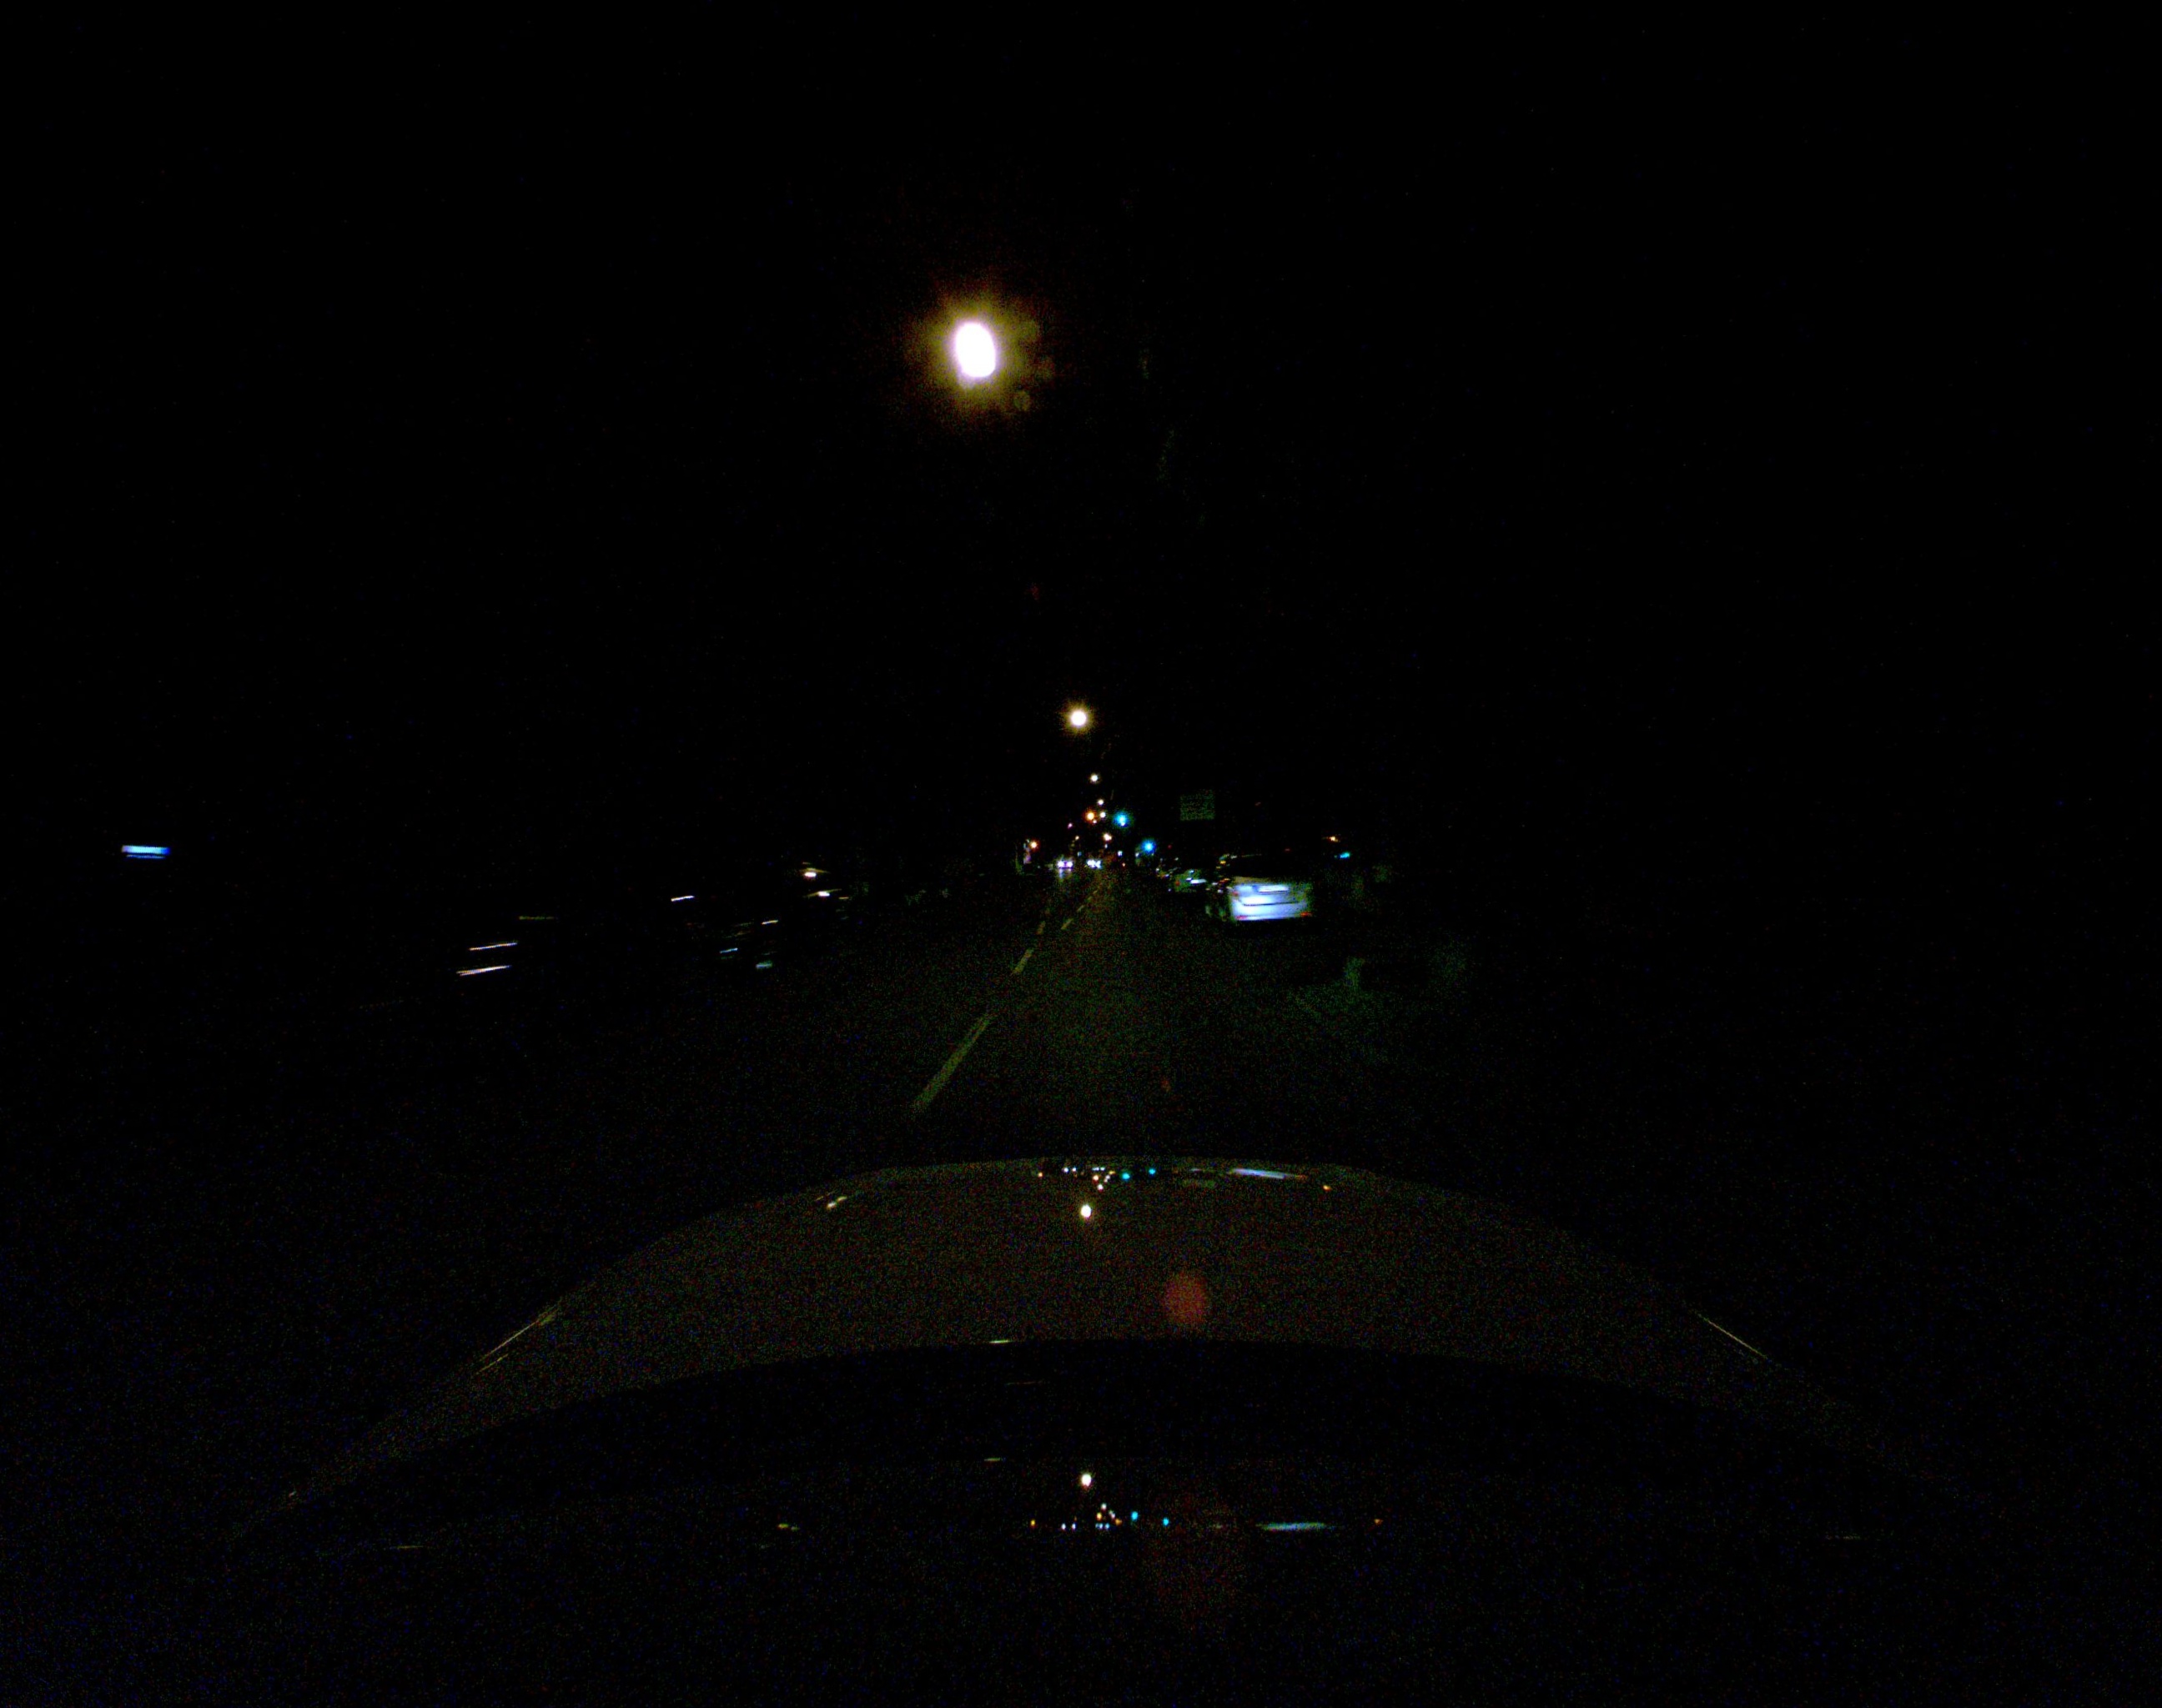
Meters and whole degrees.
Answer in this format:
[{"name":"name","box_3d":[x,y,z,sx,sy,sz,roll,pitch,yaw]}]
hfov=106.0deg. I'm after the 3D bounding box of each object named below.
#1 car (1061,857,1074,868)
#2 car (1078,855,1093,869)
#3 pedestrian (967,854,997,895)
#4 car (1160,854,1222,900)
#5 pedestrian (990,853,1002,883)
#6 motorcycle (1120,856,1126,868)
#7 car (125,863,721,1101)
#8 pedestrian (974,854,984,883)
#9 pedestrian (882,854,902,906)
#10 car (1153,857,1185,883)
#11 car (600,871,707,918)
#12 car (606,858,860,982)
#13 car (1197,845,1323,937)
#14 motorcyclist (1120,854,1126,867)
[{"name":"car","box_3d":[-1.891,1.230,116.639,1.708,1.457,3.924,0,-1,2]},{"name":"car","box_3d":[0.621,1.065,108.602,1.937,1.717,4.002,0,-1,2]},{"name":"pedestrian","box_3d":[-4.171,0.858,34.246,0.757,1.700,0.933,2,0,36]},{"name":"car","box_3d":[4.019,0.801,30.413,1.861,1.526,4.152,-3,0,2]},{"name":"pedestrian","box_3d":[-5.031,0.858,48.334,0.717,1.765,0.602,0,-2,-6]},{"name":"motorcycle","box_3d":[5.927,1.163,114.900,0.927,1.752,2.626,0,-1,3]},{"name":"car","box_3d":[-4.990,0.813,7.124,1.714,1.437,4.192,0,0,1]},{"name":"pedestrian","box_3d":[-6.012,0.840,47.925,0.569,1.700,0.927,0,-1,-7]},{"name":"pedestrian","box_3d":[-6.287,0.873,27.167,0.580,1.700,0.530,0,-2,-6]},{"name":"car","box_3d":[5.317,0.937,49.612,1.623,1.496,3.415,0,0,1]},{"name":"car","box_3d":[-14.117,1.282,26.853,3.224,1.453,1.806,-1,-2,34]},{"name":"car","box_3d":[-4.899,0.820,12.345,1.715,1.437,4.811,0,0,1]},{"name":"car","box_3d":[3.594,0.681,17.084,1.805,1.594,4.276,-3,0,2]},{"name":"motorcyclist","box_3d":[5.923,0.892,114.908,0.845,1.752,0.806,0,-1,2]}]
